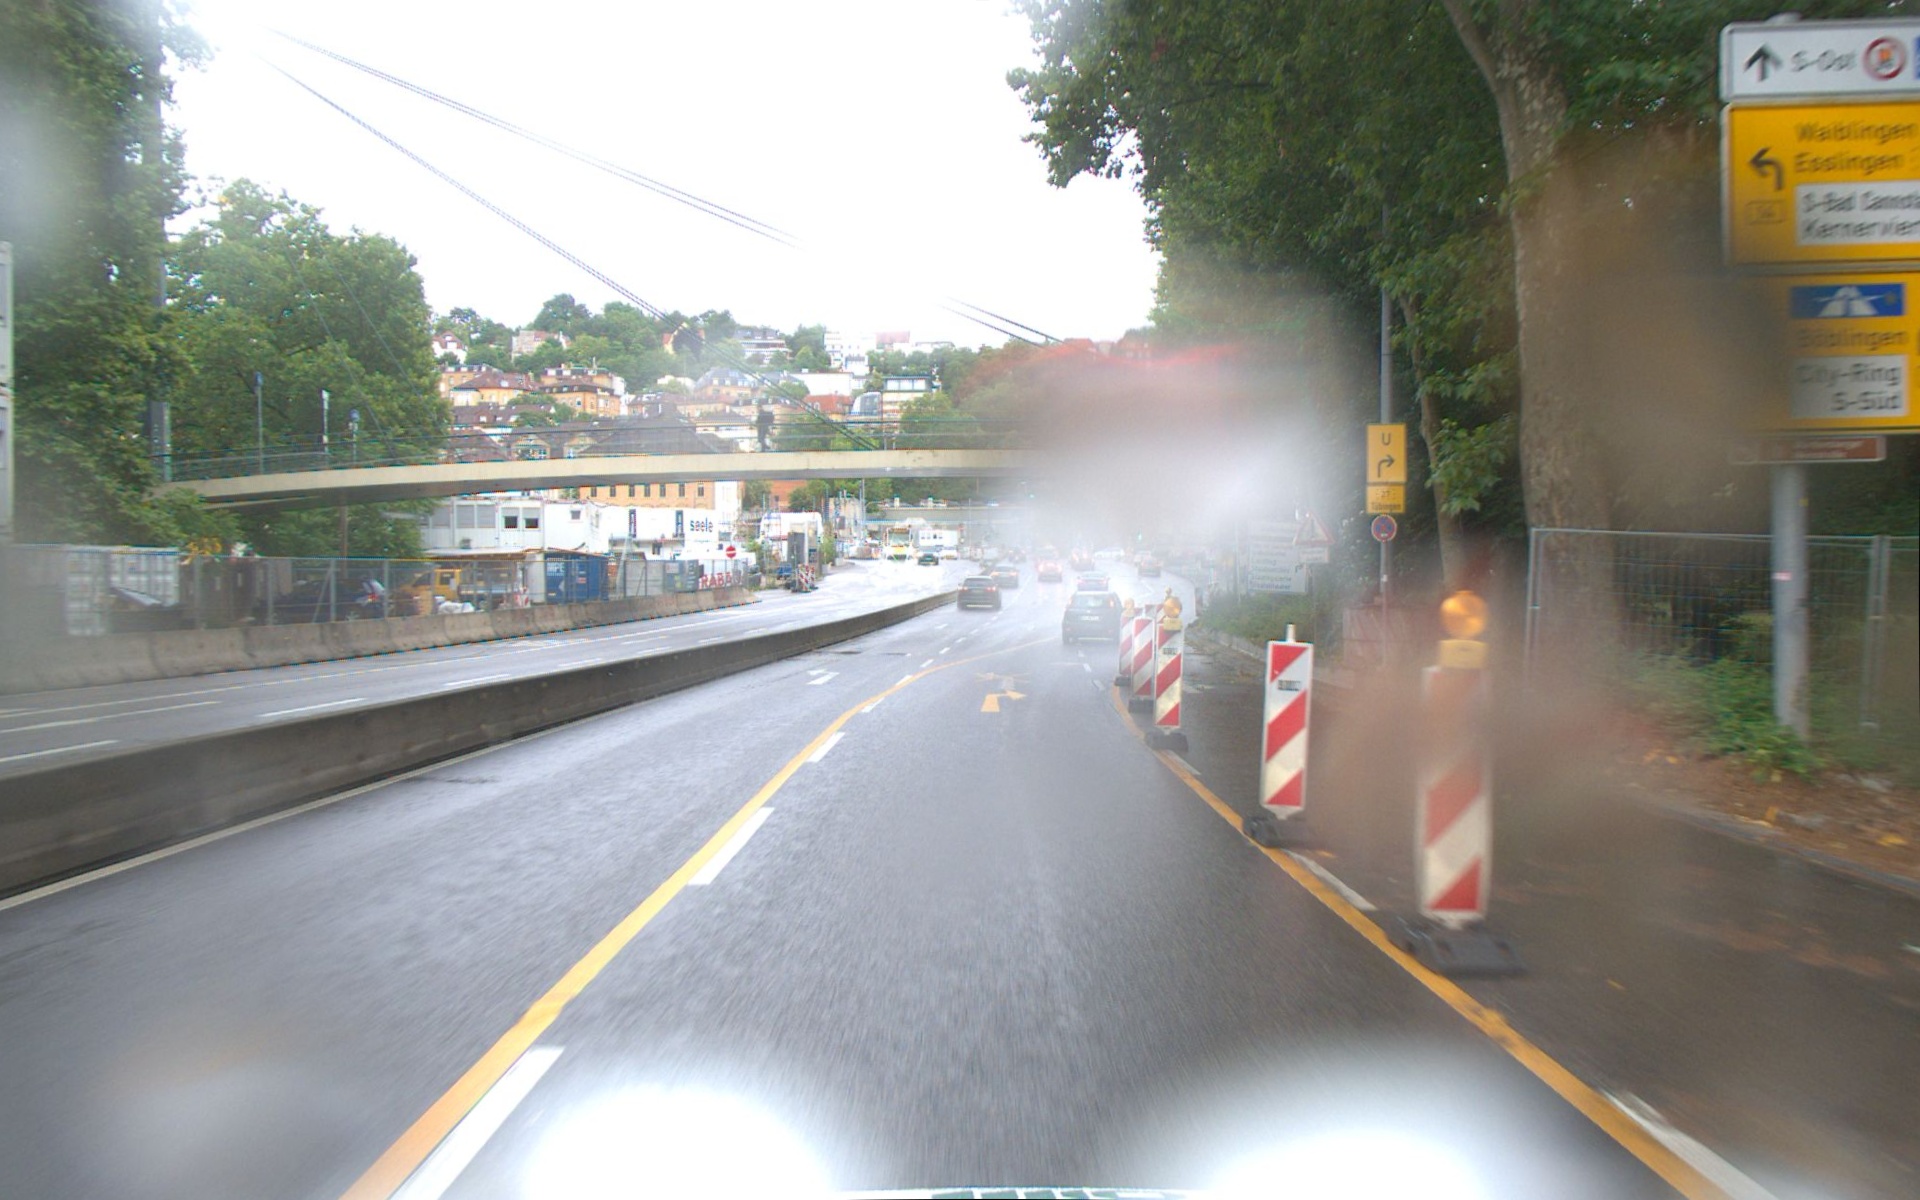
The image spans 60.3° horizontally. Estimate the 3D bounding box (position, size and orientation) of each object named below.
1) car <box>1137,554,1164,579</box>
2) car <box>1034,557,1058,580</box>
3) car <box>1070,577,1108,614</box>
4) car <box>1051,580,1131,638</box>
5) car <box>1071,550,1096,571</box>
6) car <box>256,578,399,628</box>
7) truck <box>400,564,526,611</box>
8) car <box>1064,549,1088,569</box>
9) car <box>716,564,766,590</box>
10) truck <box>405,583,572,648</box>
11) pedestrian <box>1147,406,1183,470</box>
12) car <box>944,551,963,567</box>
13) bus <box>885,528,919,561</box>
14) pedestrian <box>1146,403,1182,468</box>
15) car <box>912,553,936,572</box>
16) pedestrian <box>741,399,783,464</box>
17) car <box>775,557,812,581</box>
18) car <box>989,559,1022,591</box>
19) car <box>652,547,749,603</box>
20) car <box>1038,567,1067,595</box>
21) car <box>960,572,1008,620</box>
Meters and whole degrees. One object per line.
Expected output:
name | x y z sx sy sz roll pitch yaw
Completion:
car | 15.994 -2.820 138.953 1.952 2.048 4.002 0 1 2
car | 7.544 -2.777 144.716 1.952 1.902 4.001 -1 0 1
car | 7.470 -0.265 96.207 2.061 2.086 4.001 -1 0 2
car | 3.784 0.226 47.226 1.773 1.553 4.004 -1 0 12
car | 11.035 -3.496 147.707 1.952 1.728 4.000 -1 0 1
car | -22.413 0.083 58.730 4.338 1.656 1.957 -1 1 -6
truck | -22.934 -0.596 76.535 5.141 2.049 2.163 -1 1 -2
car | 10.761 -3.822 153.960 1.952 1.728 4.000 -1 0 1
car | -14.444 -1.493 109.322 1.724 1.593 4.687 -1 0 12
truck | -19.425 0.628 68.401 6.153 2.495 2.691 -1 0 -5
pedestrian | 7.166 -5.642 57.803 1.123 2.096 1.060 -1 0 11
car | -0.639 -4.268 171.321 1.673 1.515 3.452 -1 0 4
bus | -5.864 -5.666 169.715 2.747 3.240 8.811 -1 1 2
pedestrian | 7.023 -5.622 56.774 1.123 2.096 1.060 -1 0 11
car | -3.342 -3.529 154.045 2.038 1.659 4.854 -1 2 2
pedestrian | -6.736 -5.721 56.273 1.123 2.096 1.060 -1 0 11
car | -12.333 -2.305 122.869 1.951 1.650 4.004 0 3 6
car | 3.082 -1.642 110.647 1.951 2.049 4.002 -1 0 5
car | -14.301 -1.370 91.429 1.956 2.925 6.042 -1 0 29
car | 6.867 -1.411 123.145 2.009 2.049 4.001 -1 0 2
car | 1.114 -0.177 74.488 1.974 2.049 4.001 -1 0 3
